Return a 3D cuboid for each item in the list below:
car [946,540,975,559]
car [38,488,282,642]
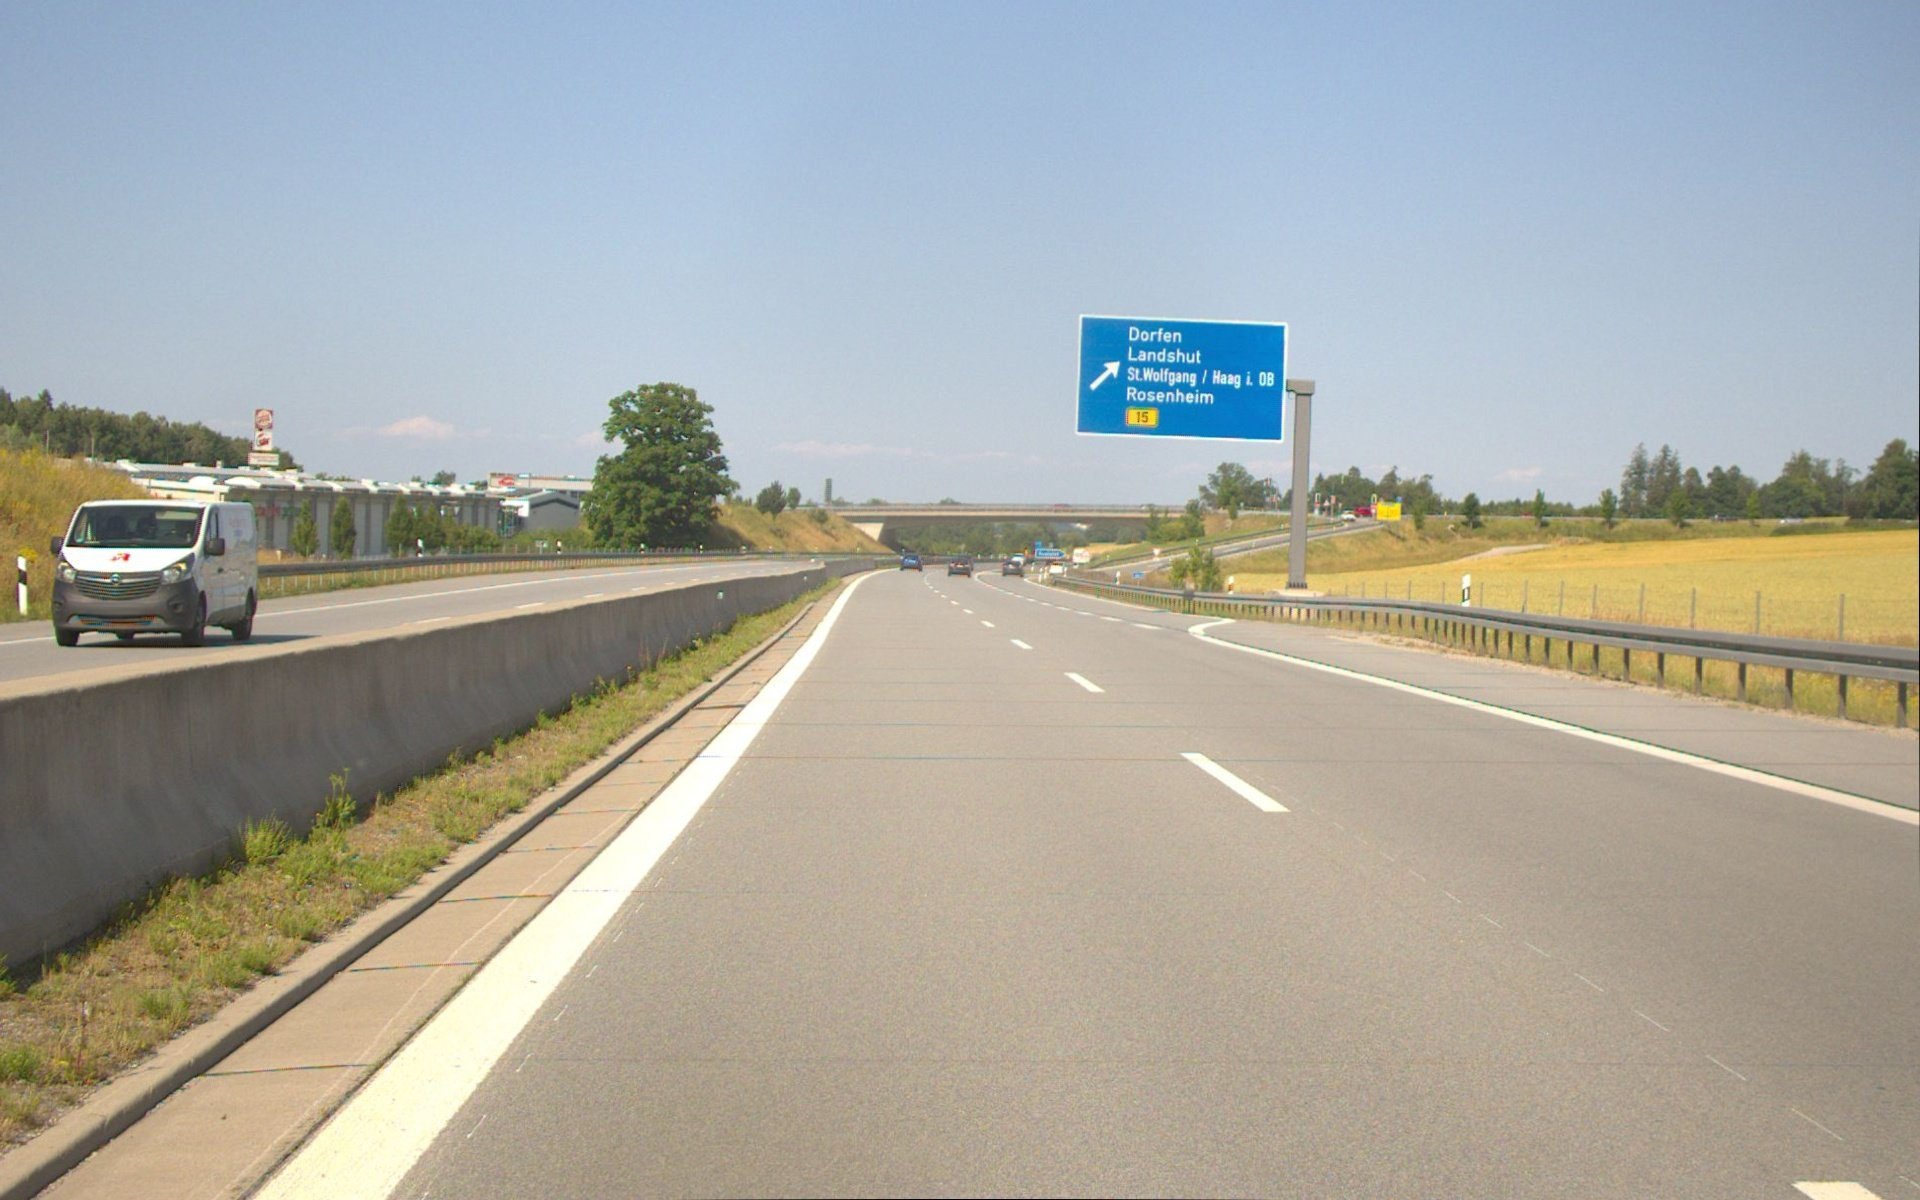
[{"bbox_3d":[0.059,-3.842,262.030,1.994,1.415,4.000,1,1,3],"label":"car"},{"bbox_3d":[-10.765,-0.491,46.691,2.233,1.928,5.796,1,1,-3],"label":"car"}]
